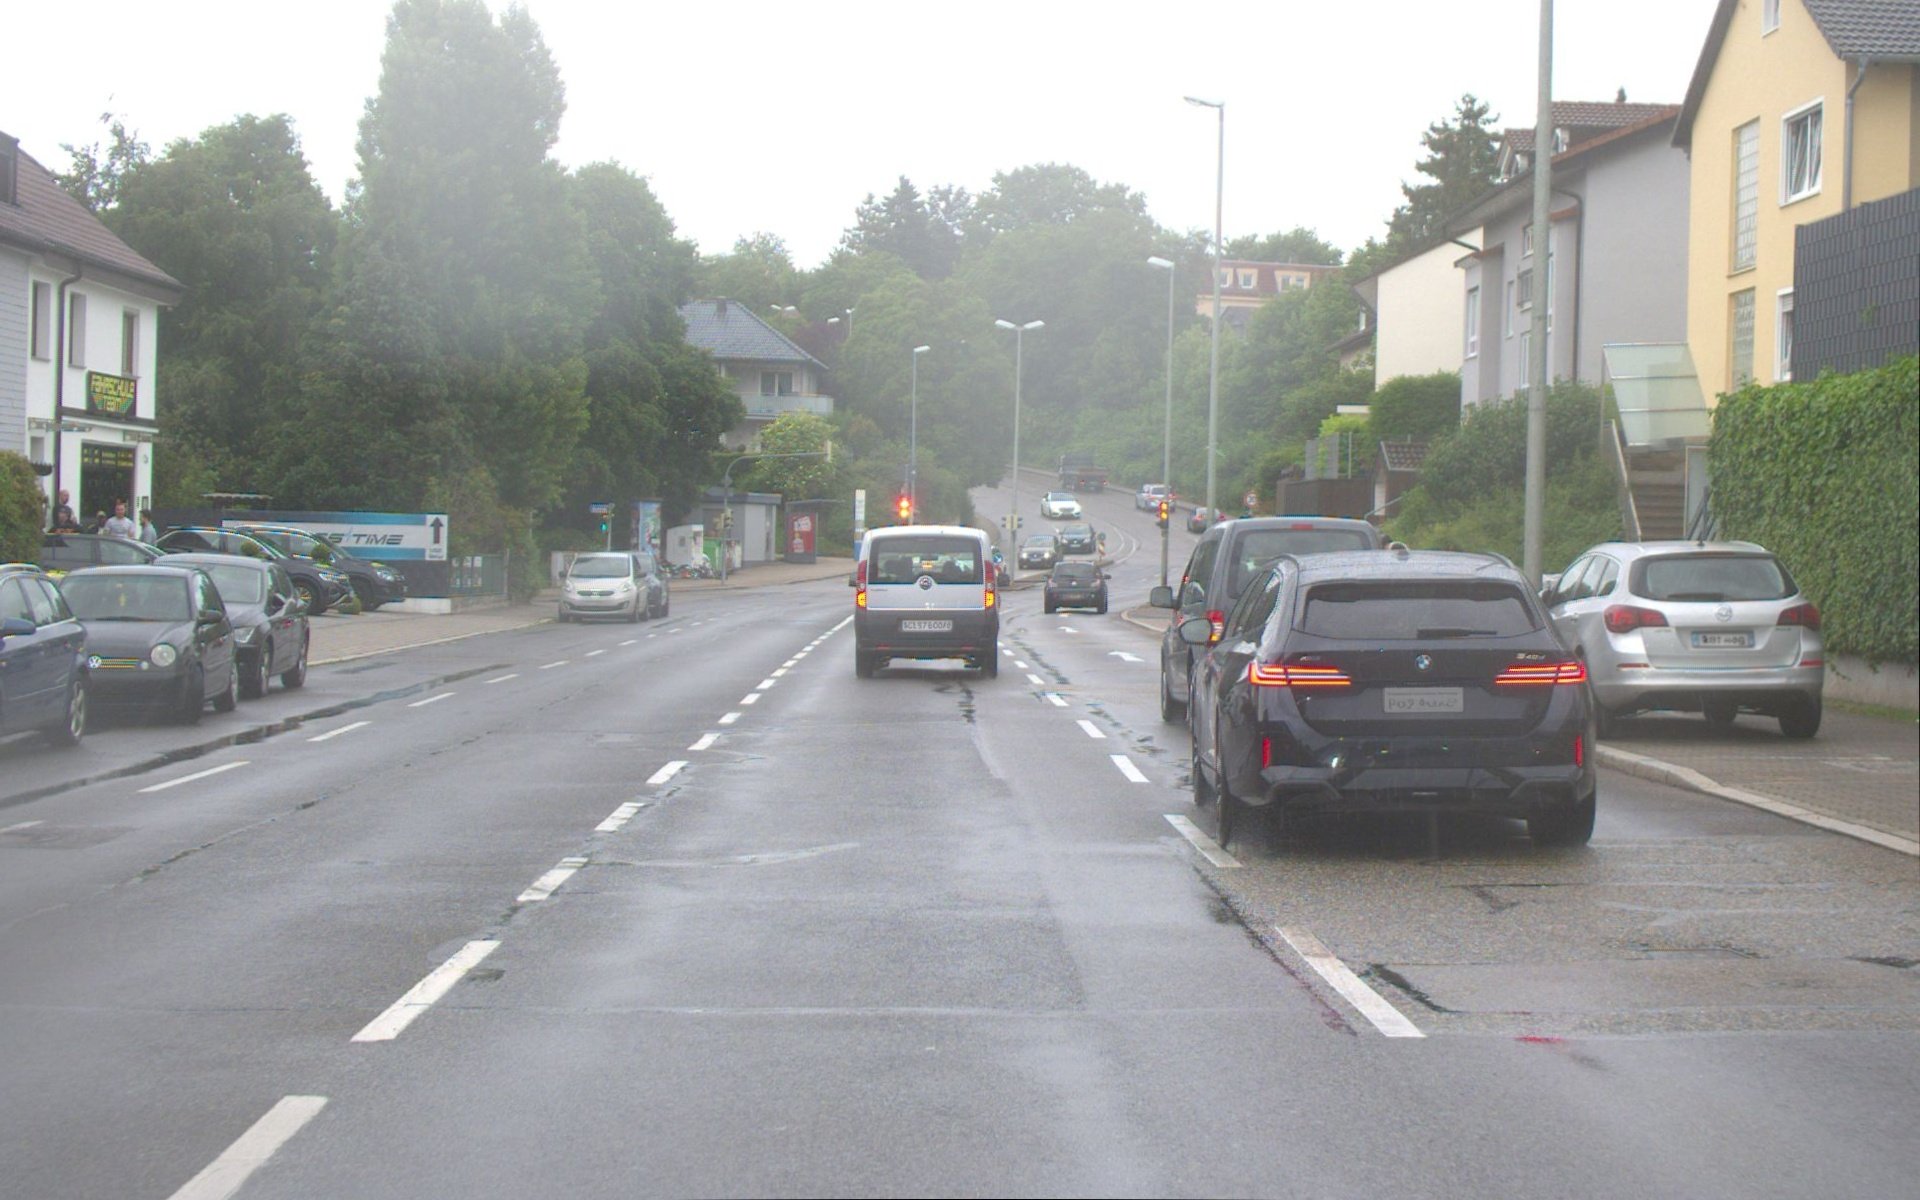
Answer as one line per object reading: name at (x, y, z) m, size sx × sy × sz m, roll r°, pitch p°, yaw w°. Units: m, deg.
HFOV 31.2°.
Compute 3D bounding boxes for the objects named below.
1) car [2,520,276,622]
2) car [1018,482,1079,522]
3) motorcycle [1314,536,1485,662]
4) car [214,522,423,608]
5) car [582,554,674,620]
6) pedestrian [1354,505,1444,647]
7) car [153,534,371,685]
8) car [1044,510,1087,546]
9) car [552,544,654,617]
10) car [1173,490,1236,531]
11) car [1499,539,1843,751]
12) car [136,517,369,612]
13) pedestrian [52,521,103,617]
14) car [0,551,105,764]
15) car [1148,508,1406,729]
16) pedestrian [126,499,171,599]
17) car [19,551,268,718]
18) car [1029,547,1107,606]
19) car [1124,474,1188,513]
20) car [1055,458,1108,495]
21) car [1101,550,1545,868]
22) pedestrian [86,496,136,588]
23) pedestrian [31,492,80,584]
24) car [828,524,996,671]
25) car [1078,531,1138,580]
car at (-13.619, -0.487, 57.192) m, size 4.072 × 1.511 × 1.856 m, roll 2°, pitch 0°, yaw 0°
car at (5.248, -5.859, 205.067) m, size 2.521 × 2.006 × 5.611 m, roll 1°, pitch 4°, yaw -10°
motorcycle at (5.162, -0.024, 40.496) m, size 0.757 × 1.445 × 2.089 m, roll 1°, pitch 1°, yaw -36°
car at (-13.870, -0.755, 74.501) m, size 4.072 × 1.511 × 1.856 m, roll 5°, pitch 0°, yaw 0°
car at (-8.189, -0.332, 85.148) m, size 1.884 × 1.579 × 4.000 m, roll 1°, pitch 1°, yaw 0°
pedestrian at (5.170, -0.284, 40.501) m, size 0.620 × 1.644 × 0.832 m, roll 1°, pitch 1°, yaw -37°
car at (-7.564, 0.073, 37.598) m, size 1.757 × 1.527 × 4.209 m, roll 1°, pitch 1°, yaw -4°
car at (5.343, -3.662, 174.609) m, size 1.993 × 1.766 × 4.000 m, roll -1°, pitch 1°, yaw 0°
car at (-8.123, -0.457, 78.481) m, size 1.884 × 1.579 × 4.000 m, roll 1°, pitch 1°, yaw 0°
car at (13.699, -5.049, 192.701) m, size 2.521 × 2.006 × 5.610 m, roll 1°, pitch 4°, yaw -6°
car at (5.509, 0.301, 27.180) m, size 1.700 × 1.505 × 4.535 m, roll 1°, pitch 1°, yaw -1°
car at (-13.802, -0.693, 67.246) m, size 4.072 × 1.511 × 1.856 m, roll 5°, pitch 0°, yaw 0°
pedestrian at (-15.656, -0.549, 60.972) m, size 0.600 × 1.660 × 0.650 m, roll 4°, pitch 1°, yaw 5°
car at (-7.801, 0.391, 25.765) m, size 1.757 × 1.527 × 4.287 m, roll 1°, pitch 1°, yaw -1°
car at (2.673, 0.130, 29.814) m, size 1.838 × 1.761 × 4.000 m, roll 1°, pitch 1°, yaw 0°
pedestrian at (-14.864, -0.936, 62.978) m, size 0.600 × 1.784 × 0.650 m, roll 4°, pitch 1°, yaw -6°
car at (-7.487, 0.276, 31.828) m, size 1.551 × 1.426 × 4.015 m, roll 1°, pitch 1°, yaw -3°
car at (3.000, -0.679, 96.573) m, size 1.993 × 1.573 × 4.000 m, roll -1°, pitch 1°, yaw -1°
car at (12.022, -6.552, 211.075) m, size 2.521 × 2.006 × 5.611 m, roll 1°, pitch 5°, yaw -12°
car at (8.026, -8.184, 227.268) m, size 2.521 × 2.006 × 5.611 m, roll 2°, pitch 5°, yaw -8°
car at (1.809, 0.498, 18.369) m, size 1.993 × 1.479 × 4.000 m, roll 1°, pitch 1°, yaw 1°
pedestrian at (-15.659, -1.069, 63.439) m, size 0.600 × 1.660 × 0.650 m, roll 4°, pitch 1°, yaw 8°
pedestrian at (-16.753, -1.151, 63.681) m, size 0.600 × 1.660 × 0.650 m, roll 4°, pitch 1°, yaw 5°
car at (-0.576, -0.051, 43.359) m, size 1.993 × 1.731 × 4.000 m, roll 1°, pitch 1°, yaw 0°
car at (7.013, -2.131, 163.420) m, size 2.521 × 2.006 × 5.609 m, roll 1°, pitch 4°, yaw 0°
